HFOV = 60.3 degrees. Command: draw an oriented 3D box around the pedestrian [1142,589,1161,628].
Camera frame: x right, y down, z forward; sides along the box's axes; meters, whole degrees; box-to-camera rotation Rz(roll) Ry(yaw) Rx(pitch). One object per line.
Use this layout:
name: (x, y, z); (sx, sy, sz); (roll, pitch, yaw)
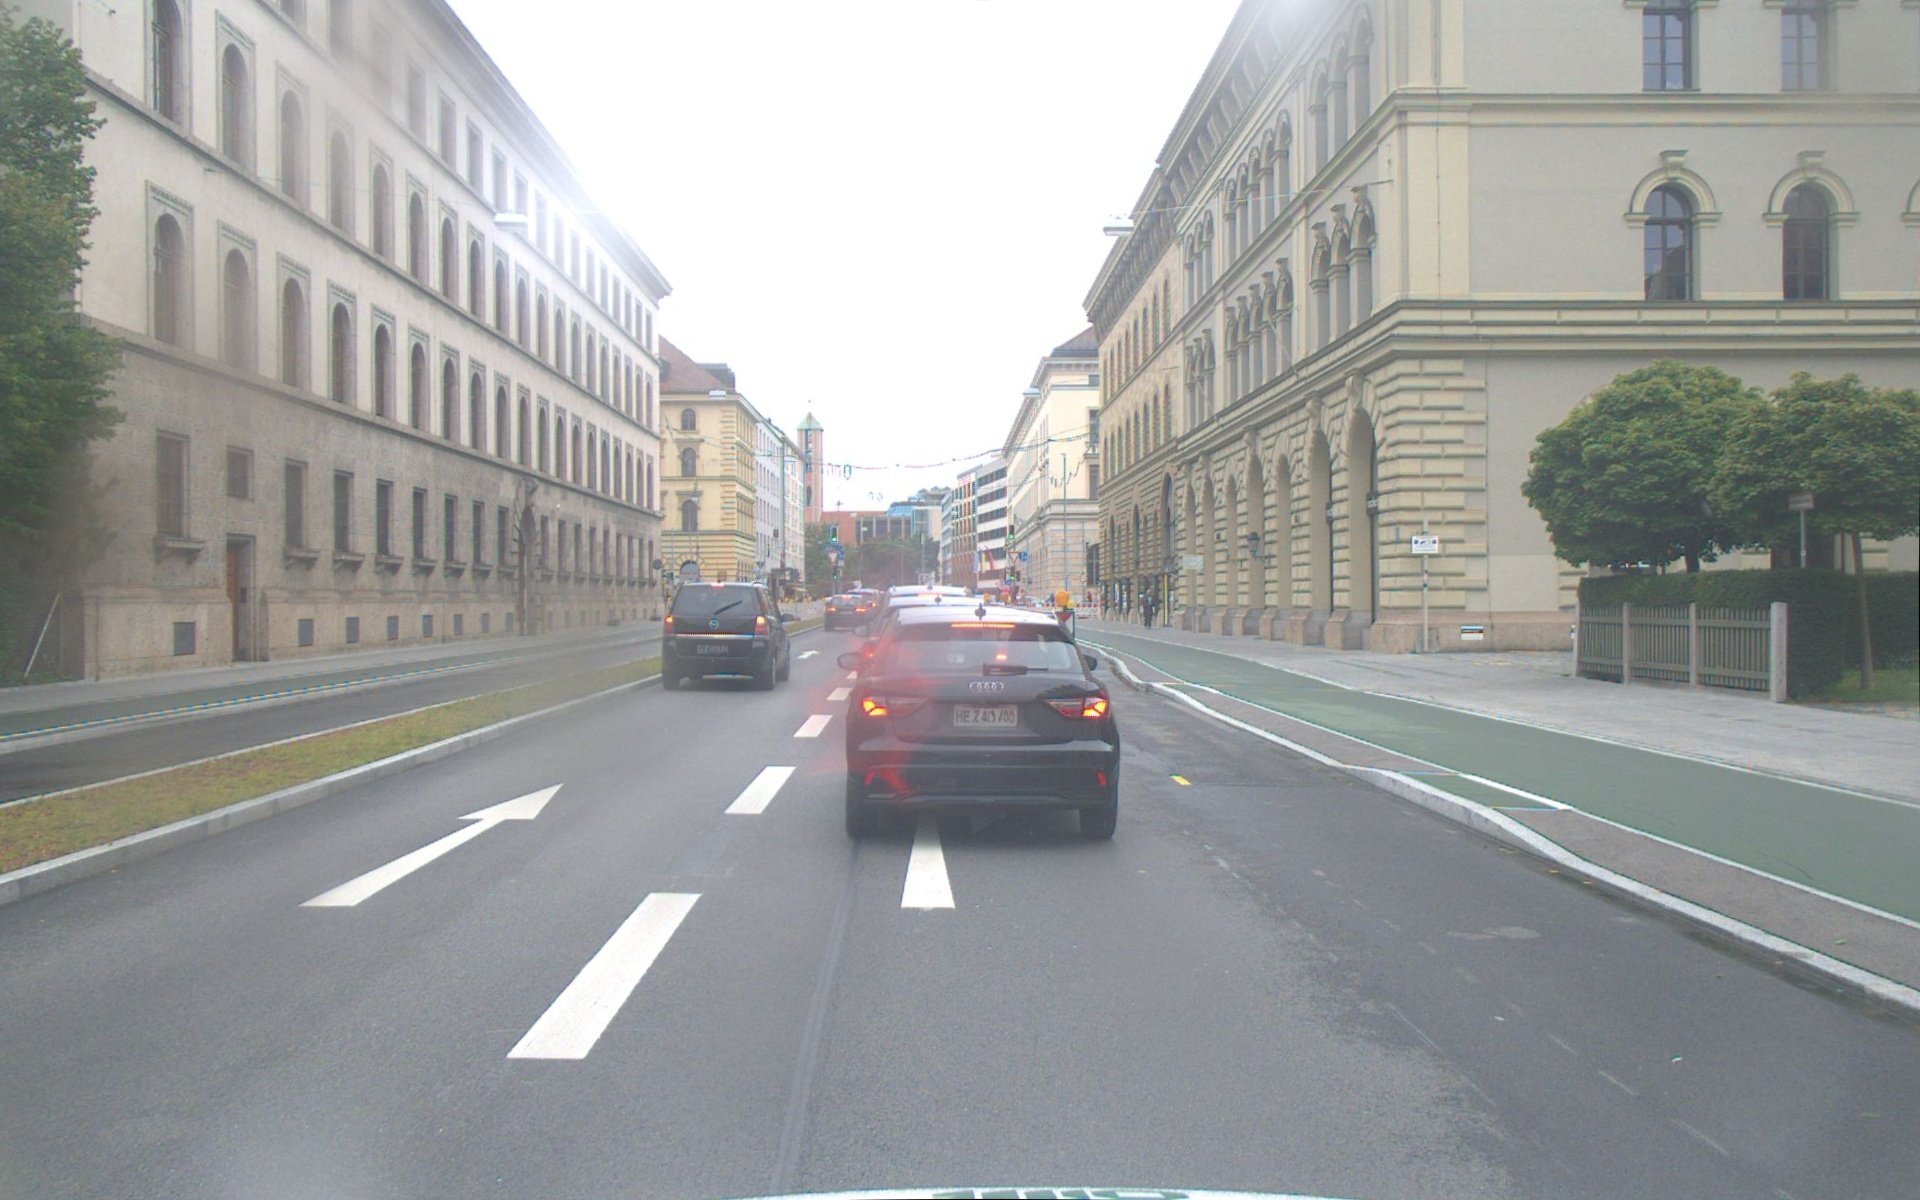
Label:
pedestrian: (8.140, 0.353, 70.462); (0.695, 1.646, 0.754); (0, 0, -2)

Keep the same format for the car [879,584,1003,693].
car: (-0.310, 0.522, 25.029); (1.695, 1.486, 3.999); (1, 0, -1)

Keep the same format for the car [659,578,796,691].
car: (-3.612, 0.500, 26.308); (1.729, 1.644, 4.028); (1, 0, -2)

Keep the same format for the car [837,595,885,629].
car: (-4.444, 0.512, 74.637); (1.953, 1.469, 3.999); (0, 0, -1)

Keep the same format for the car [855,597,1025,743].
car: (-0.243, 0.699, 18.626); (1.695, 1.427, 3.999); (1, 0, -1)

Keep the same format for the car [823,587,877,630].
car: (-4.333, 0.332, 65.625); (1.953, 1.656, 3.999); (0, 0, -1)

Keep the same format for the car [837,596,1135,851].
car: (0.111, 0.706, 11.521); (1.695, 1.427, 3.999); (1, 0, -1)
